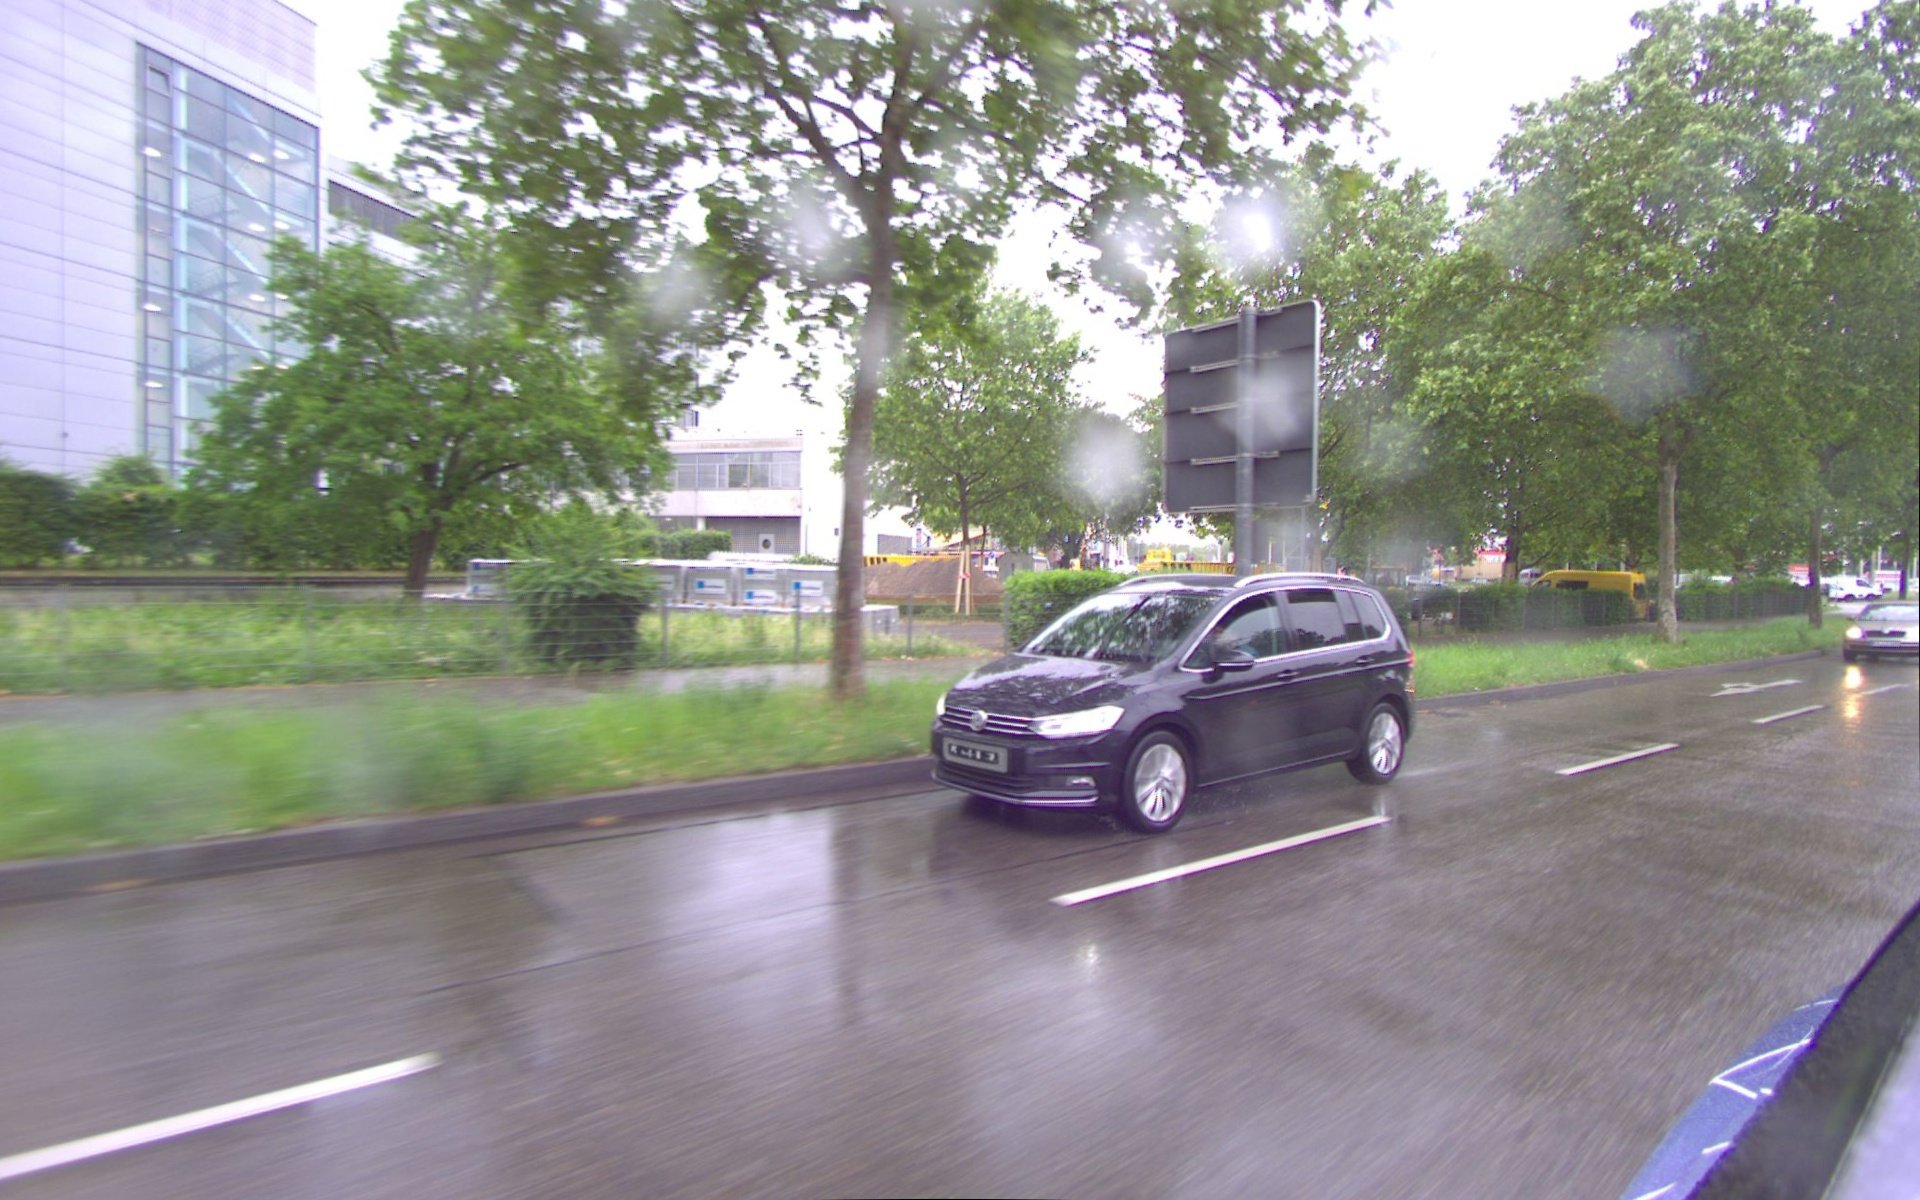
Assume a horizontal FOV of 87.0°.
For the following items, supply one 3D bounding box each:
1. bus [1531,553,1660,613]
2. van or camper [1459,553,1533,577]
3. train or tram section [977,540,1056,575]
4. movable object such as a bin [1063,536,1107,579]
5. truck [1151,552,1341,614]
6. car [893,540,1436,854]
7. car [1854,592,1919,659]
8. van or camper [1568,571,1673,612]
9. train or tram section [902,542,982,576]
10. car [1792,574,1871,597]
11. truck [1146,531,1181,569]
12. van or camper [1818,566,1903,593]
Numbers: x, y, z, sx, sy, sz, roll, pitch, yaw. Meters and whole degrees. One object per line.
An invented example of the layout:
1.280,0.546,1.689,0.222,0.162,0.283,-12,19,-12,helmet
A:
30.137,-0.836,48.138,1.963,2.680,4.807,0,1,-36,bus
76.154,-4.943,143.898,8.856,3.196,2.972,0,2,17,van or camper
6.089,-4.586,109.082,8.247,3.563,2.391,-1,1,14,train or tram section
11.011,-3.738,89.408,3.254,3.670,3.616,0,2,-3,movable object such as a bin
14.984,-0.899,53.432,9.370,3.069,3.066,0,2,17,truck
1.702,0.501,7.663,4.115,1.747,1.860,-1,1,-39,car
23.237,0.566,24.343,4.306,1.448,1.807,-1,2,-38,car
32.277,-0.439,49.517,1.771,1.931,3.993,0,1,-42,van or camper
-1.957,-4.519,111.170,8.405,3.563,2.391,-1,1,14,train or tram section
70.731,-1.171,82.184,4.396,1.693,1.861,2,2,14,car
19.396,-4.733,96.214,2.462,3.386,9.424,-1,2,16,truck
75.173,-1.755,84.549,4.836,2.113,1.861,2,2,14,van or camper
